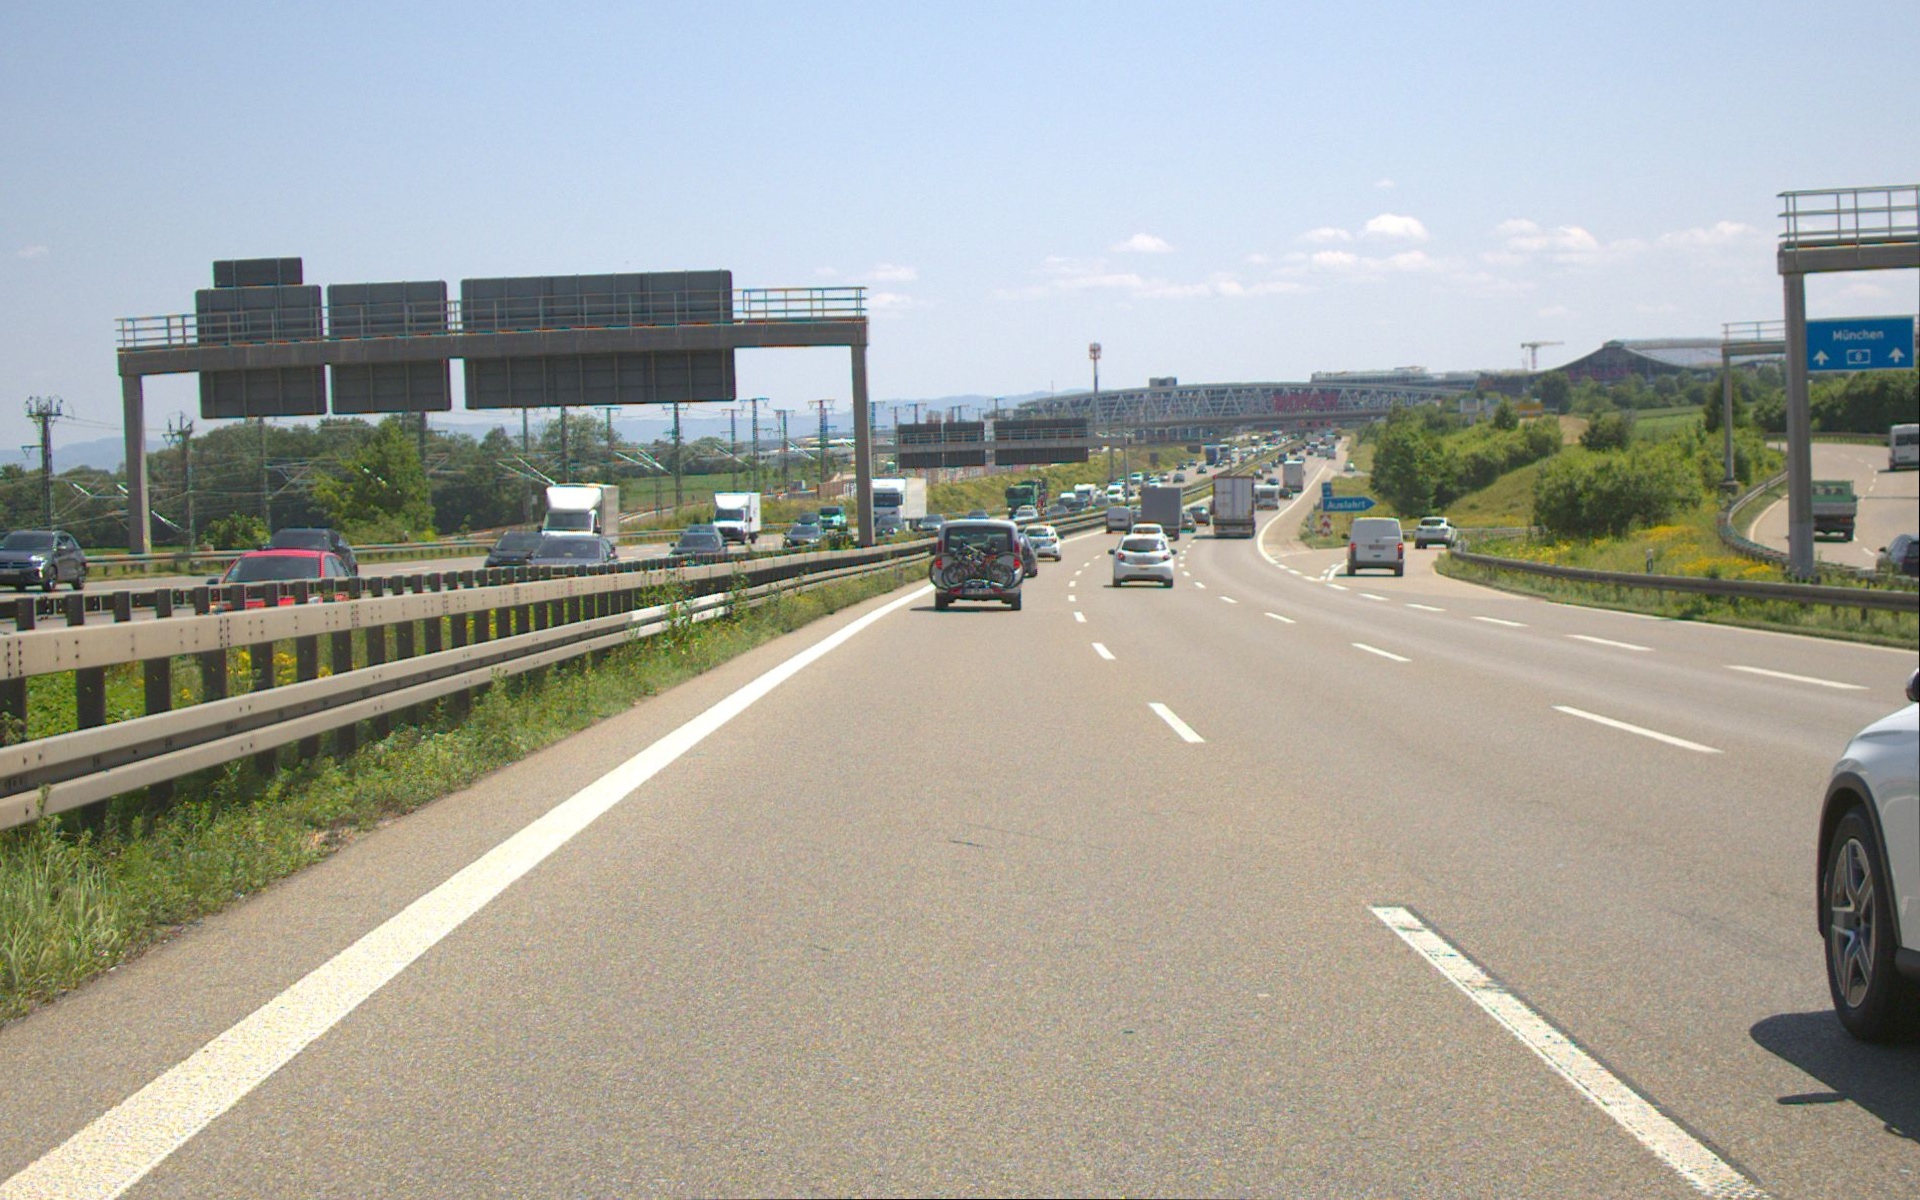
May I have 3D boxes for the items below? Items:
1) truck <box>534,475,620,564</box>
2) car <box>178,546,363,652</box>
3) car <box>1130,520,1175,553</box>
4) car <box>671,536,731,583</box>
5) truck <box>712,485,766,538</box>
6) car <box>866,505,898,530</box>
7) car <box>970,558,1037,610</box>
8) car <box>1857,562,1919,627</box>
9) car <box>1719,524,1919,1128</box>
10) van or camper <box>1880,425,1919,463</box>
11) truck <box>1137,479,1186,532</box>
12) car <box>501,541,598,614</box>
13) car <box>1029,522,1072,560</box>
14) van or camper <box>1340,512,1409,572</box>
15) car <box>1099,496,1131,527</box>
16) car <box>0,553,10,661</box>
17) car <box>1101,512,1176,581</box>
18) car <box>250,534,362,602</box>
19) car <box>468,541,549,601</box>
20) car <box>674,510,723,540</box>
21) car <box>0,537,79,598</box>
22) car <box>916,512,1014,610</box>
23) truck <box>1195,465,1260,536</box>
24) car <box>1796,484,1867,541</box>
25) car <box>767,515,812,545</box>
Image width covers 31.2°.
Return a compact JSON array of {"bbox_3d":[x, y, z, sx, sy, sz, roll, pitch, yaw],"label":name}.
[{"bbox_3d":[-14.488,-3.012,130.532,2.376,3.266,7.661,0,1,0],"label":"truck"},{"bbox_3d":[-9.796,-0.049,49.148,1.657,1.419,4.776,0,1,0],"label":"car"},{"bbox_3d":[8.835,-2.915,157.592,1.982,1.468,3.999,0,1,5],"label":"car"},{"bbox_3d":[-9.140,-1.441,121.619,1.748,1.619,4.831,0,1,0],"label":"car"},{"bbox_3d":[-13.220,-5.309,206.152,2.320,3.156,8.112,0,2,3],"label":"truck"},{"bbox_3d":[-4.902,-5.182,216.868,1.742,1.555,4.000,0,2,2],"label":"car"},{"bbox_3d":[1.428,-0.540,111.014,1.927,1.621,4.517,0,1,4],"label":"car"},{"bbox_3d":[24.026,-0.154,86.301,1.993,1.590,4.000,0,1,0],"label":"car"},{"bbox_3d":[3.567,0.621,9.047,1.898,1.641,4.999,0,1,-2],"label":"car"},{"bbox_3d":[54.006,-8.883,195.875,2.530,2.007,4.459,0,1,8],"label":"van or camper"},{"bbox_3d":[12.409,-5.751,211.258,2.703,3.098,10.657,0,1,5],"label":"truck"},{"bbox_3d":[-9.378,-0.523,78.804,1.675,1.609,4.362,0,1,0],"label":"car"},{"bbox_3d":[3.814,-2.479,144.431,1.576,1.547,3.963,0,1,5],"label":"car"},{"bbox_3d":[14.152,-1.991,117.581,2.156,2.007,4.304,0,1,4],"label":"van or camper"},{"bbox_3d":[10.849,-6.182,240.030,2.186,1.996,4.001,0,4,3],"label":"car"},{"bbox_3d":[-13.243,0.118,42.479,1.657,1.398,4.759,0,1,0],"label":"car"},{"bbox_3d":[5.073,-1.529,98.184,1.926,1.912,4.518,0,1,1],"label":"car"},{"bbox_3d":[-16.302,-0.818,85.929,1.847,1.650,4.910,0,1,0],"label":"car"},{"bbox_3d":[-12.440,-0.802,94.829,1.675,1.619,4.085,0,1,0],"label":"car"},{"bbox_3d":[-12.561,-3.596,165.394,1.905,1.415,4.000,0,2,2],"label":"car"},{"bbox_3d":[-24.274,-0.870,88.987,1.847,1.526,4.223,0,1,0],"label":"car"},{"bbox_3d":[0.115,-0.801,70.108,1.926,1.912,4.948,0,1,1],"label":"car"},{"bbox_3d":[17.273,-6.483,221.716,4.040,4.247,11.757,0,3,5],"label":"truck"},{"bbox_3d":[31.514,-3.167,124.432,1.994,2.007,3.999,0,1,7],"label":"car"},{"bbox_3d":[-8.416,-3.497,170.303,1.790,1.459,4.859,0,2,2],"label":"car"}]
